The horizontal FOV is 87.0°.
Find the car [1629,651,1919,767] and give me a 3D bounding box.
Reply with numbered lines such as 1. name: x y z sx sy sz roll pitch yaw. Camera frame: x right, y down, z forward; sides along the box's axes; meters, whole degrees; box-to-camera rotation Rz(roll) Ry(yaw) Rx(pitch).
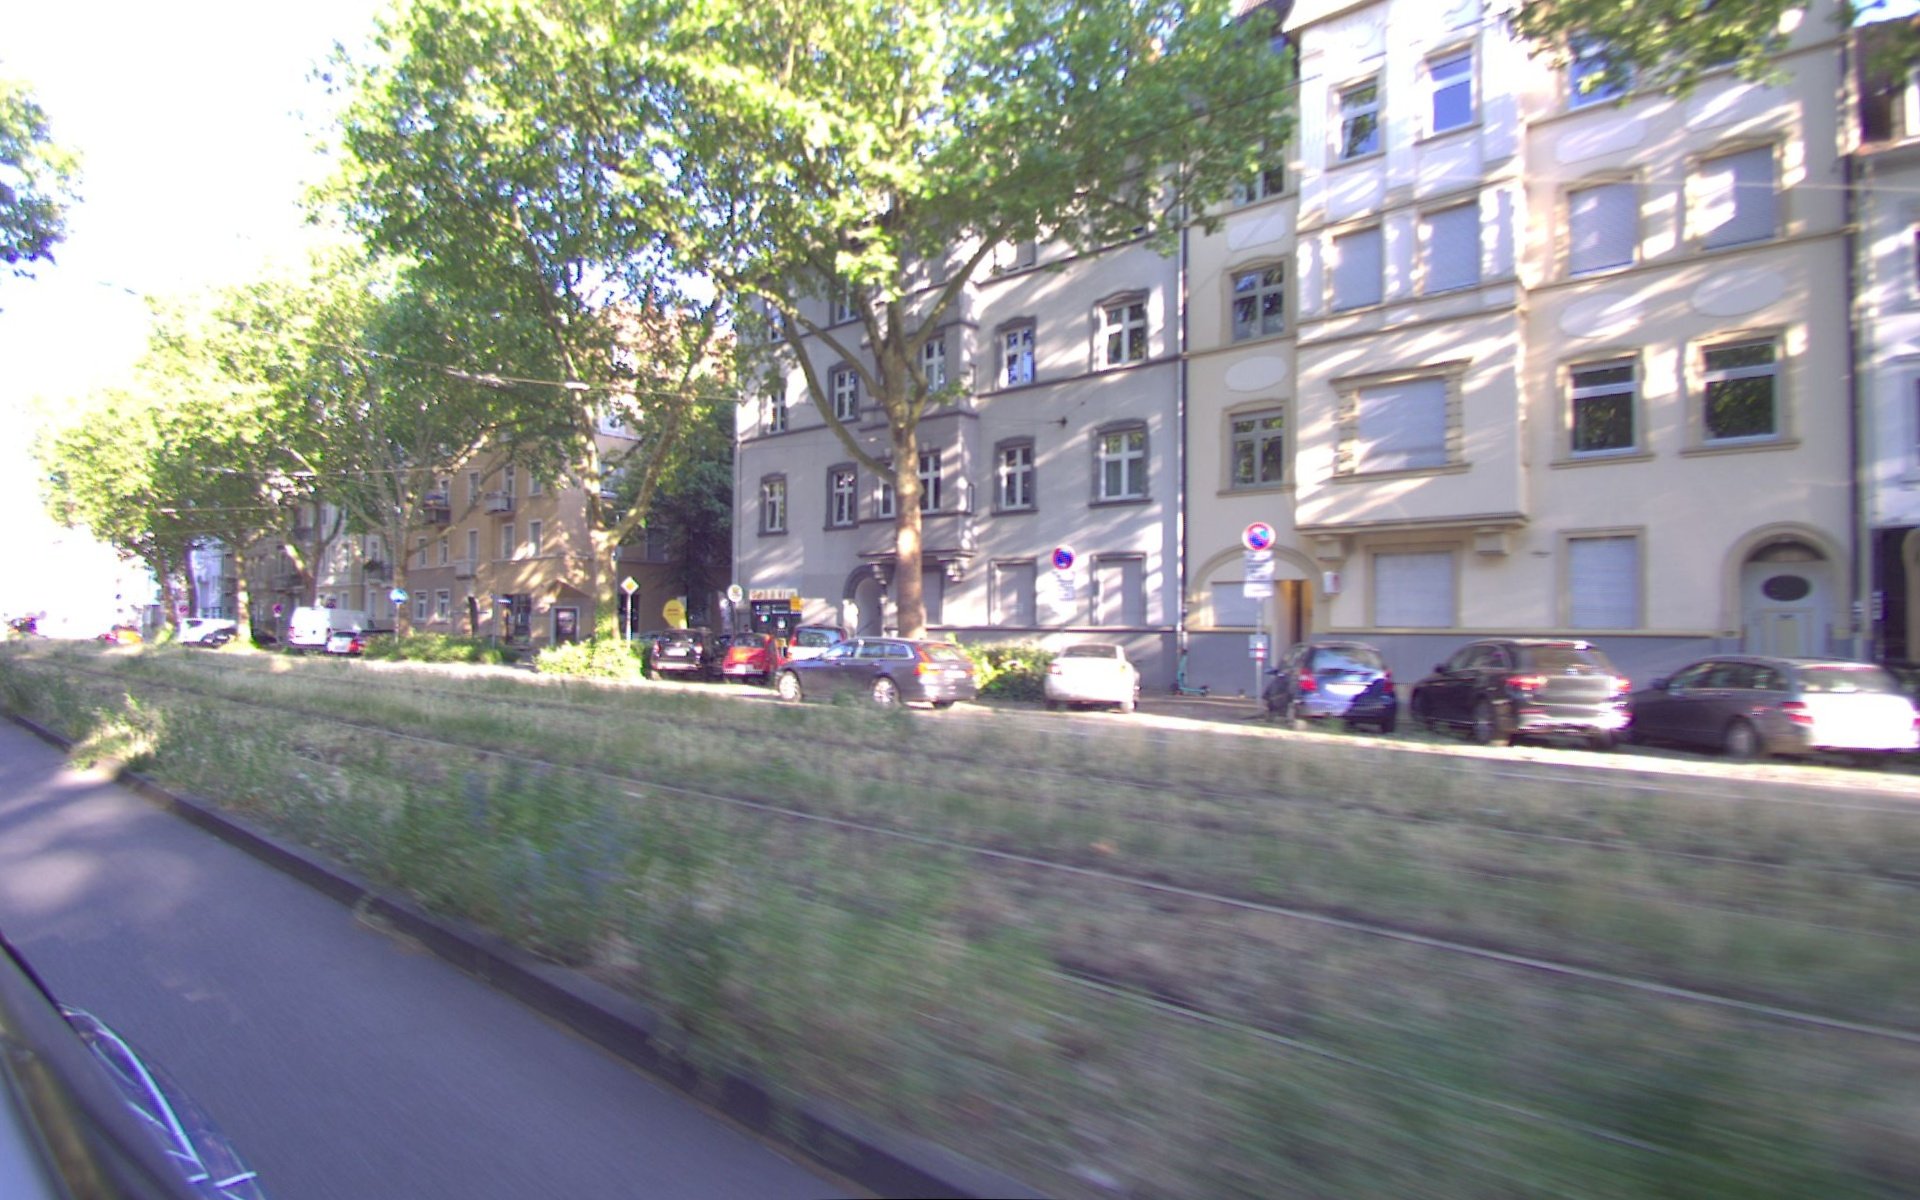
1. car: 11.451 1.398 14.079 1.779 1.368 4.001 0 -3 4

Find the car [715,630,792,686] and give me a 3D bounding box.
1. car: -6.154 1.704 30.566 1.635 1.566 4.001 0 -2 -2

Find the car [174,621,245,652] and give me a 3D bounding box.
1. car: -51.871 2.496 70.054 1.971 2.029 4.001 -1 0 -1

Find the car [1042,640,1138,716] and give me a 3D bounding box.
1. car: 2.800 1.553 21.147 1.806 1.400 3.668 0 -2 10

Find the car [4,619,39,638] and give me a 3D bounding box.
1. car: -80.326 2.450 86.646 1.969 1.497 4.006 -1 0 -40

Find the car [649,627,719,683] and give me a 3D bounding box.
1. car: -8.713 1.718 32.243 1.703 1.666 4.007 0 -2 -9

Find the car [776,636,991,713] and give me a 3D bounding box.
1. car: -1.662 1.487 20.947 4.481 1.400 1.801 -1 -4 41

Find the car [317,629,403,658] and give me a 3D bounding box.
1. car: -30.845 2.223 52.168 1.710 1.256 3.991 -1 1 7

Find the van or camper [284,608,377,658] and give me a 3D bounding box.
1. van or camper: -33.124 1.677 53.418 2.171 2.418 4.362 -1 1 1

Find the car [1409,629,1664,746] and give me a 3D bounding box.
1. car: 8.964 1.359 16.230 1.912 1.605 4.154 0 -4 5

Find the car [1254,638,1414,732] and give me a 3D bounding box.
1. car: 6.815 1.528 18.901 1.803 1.545 3.993 0 -3 6

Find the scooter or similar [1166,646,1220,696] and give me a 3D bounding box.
1. scooter or similar: 6.147 1.857 26.732 1.353 1.260 0.470 -1 -3 41

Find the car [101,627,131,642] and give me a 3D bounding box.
1. car: -86.395 3.503 103.575 4.001 1.431 1.971 -1 0 44
